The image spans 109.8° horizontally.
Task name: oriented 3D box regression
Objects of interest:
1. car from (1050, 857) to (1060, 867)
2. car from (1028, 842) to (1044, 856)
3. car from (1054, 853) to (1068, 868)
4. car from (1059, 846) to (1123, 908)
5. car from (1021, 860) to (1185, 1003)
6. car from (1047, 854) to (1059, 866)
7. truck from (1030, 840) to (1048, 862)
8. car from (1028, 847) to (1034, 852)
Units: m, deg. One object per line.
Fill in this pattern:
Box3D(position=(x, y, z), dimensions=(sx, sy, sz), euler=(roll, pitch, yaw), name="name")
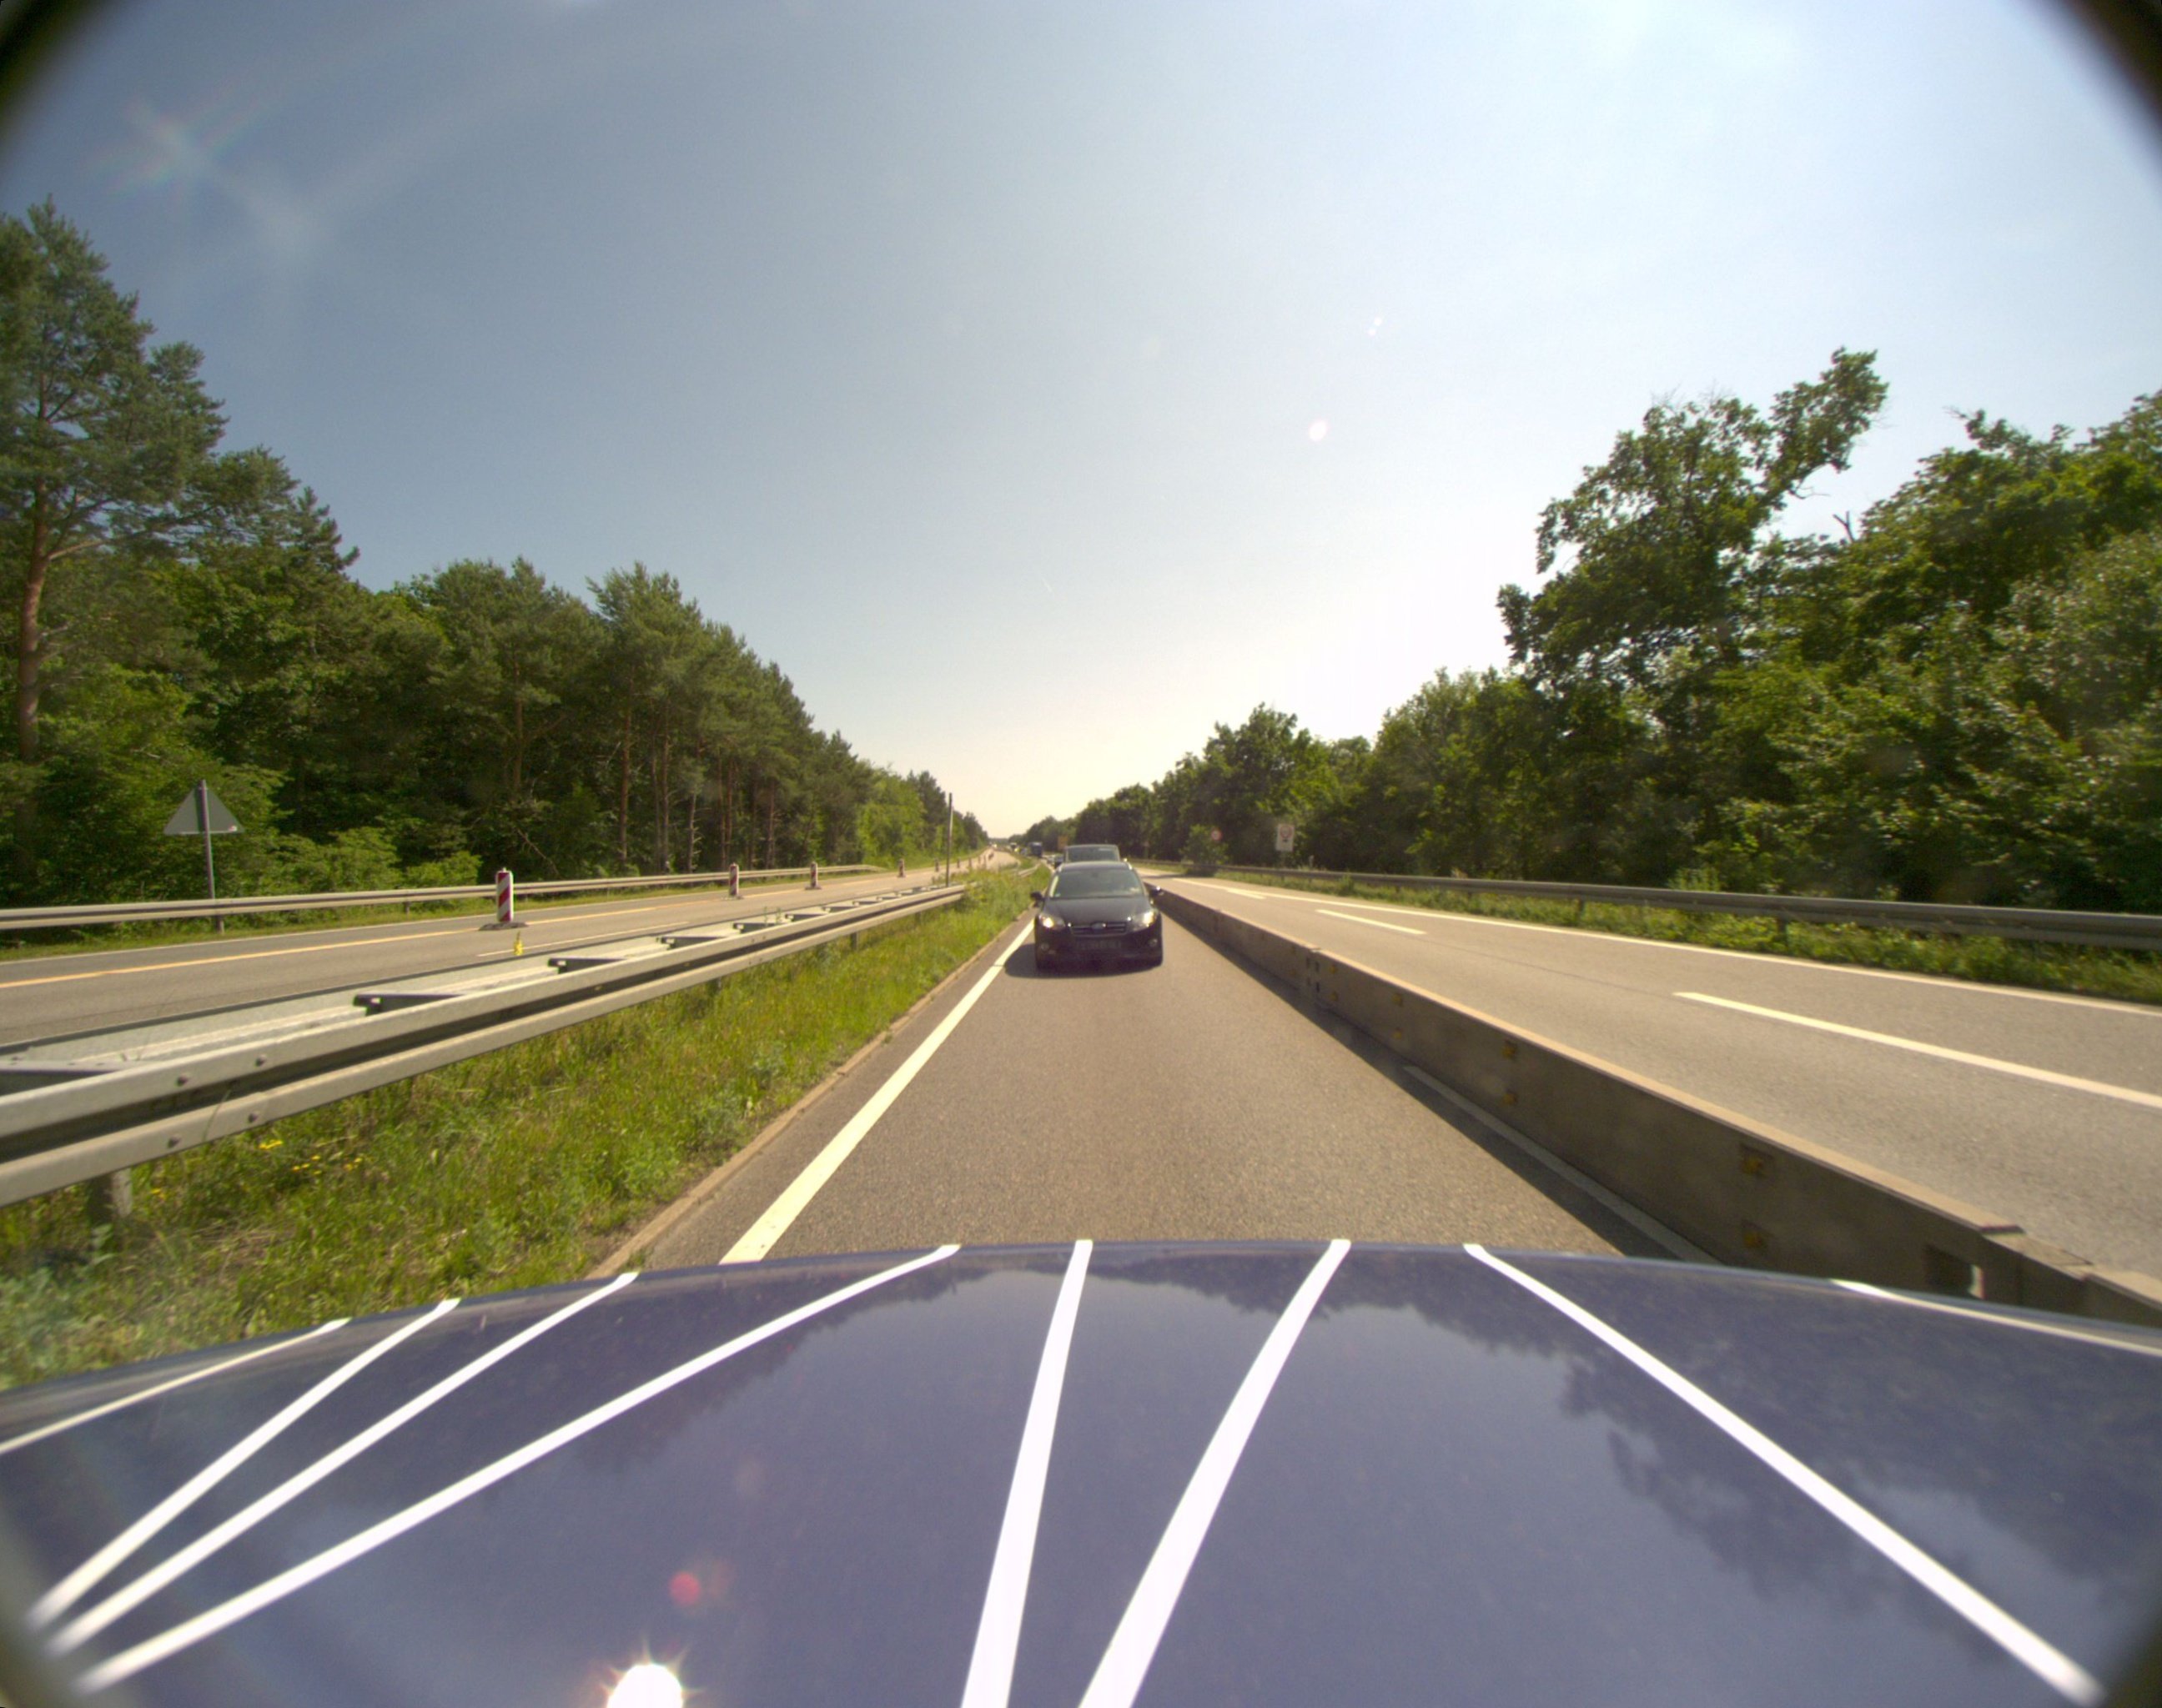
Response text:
Box3D(position=(-4.370, 1.353, 127.028), dimensions=(1.527, 1.647, 3.754), euler=(0, 0, 0), name="car")
Box3D(position=(-6.155, -0.661, 104.762), dimensions=(1.999, 1.773, 4.000), euler=(-1, 0, 0), name="car")
Box3D(position=(-2.282, 0.727, 88.320), dimensions=(1.527, 1.647, 3.980), euler=(-1, 0, 0), name="car")
Box3D(position=(0.261, 0.719, 26.119), dimensions=(1.960, 1.901, 4.934), euler=(-1, 0, -1), name="car")
Box3D(position=(0.238, 0.928, 11.318), dimensions=(1.847, 1.537, 4.935), euler=(-2, 0, 0), name="car")
Box3D(position=(-3.970, 0.848, 108.737), dimensions=(1.527, 1.647, 3.980), euler=(-1, 0, 0), name="car")
Box3D(position=(-10.643, -0.788, 190.803), dimensions=(3.831, 5.266, 11.239), euler=(-1, 0, -7), name="truck")
Box3D(position=(-15.488, -1.372, 236.628), dimensions=(1.527, 1.647, 3.980), euler=(-1, 0, 0), name="car")
